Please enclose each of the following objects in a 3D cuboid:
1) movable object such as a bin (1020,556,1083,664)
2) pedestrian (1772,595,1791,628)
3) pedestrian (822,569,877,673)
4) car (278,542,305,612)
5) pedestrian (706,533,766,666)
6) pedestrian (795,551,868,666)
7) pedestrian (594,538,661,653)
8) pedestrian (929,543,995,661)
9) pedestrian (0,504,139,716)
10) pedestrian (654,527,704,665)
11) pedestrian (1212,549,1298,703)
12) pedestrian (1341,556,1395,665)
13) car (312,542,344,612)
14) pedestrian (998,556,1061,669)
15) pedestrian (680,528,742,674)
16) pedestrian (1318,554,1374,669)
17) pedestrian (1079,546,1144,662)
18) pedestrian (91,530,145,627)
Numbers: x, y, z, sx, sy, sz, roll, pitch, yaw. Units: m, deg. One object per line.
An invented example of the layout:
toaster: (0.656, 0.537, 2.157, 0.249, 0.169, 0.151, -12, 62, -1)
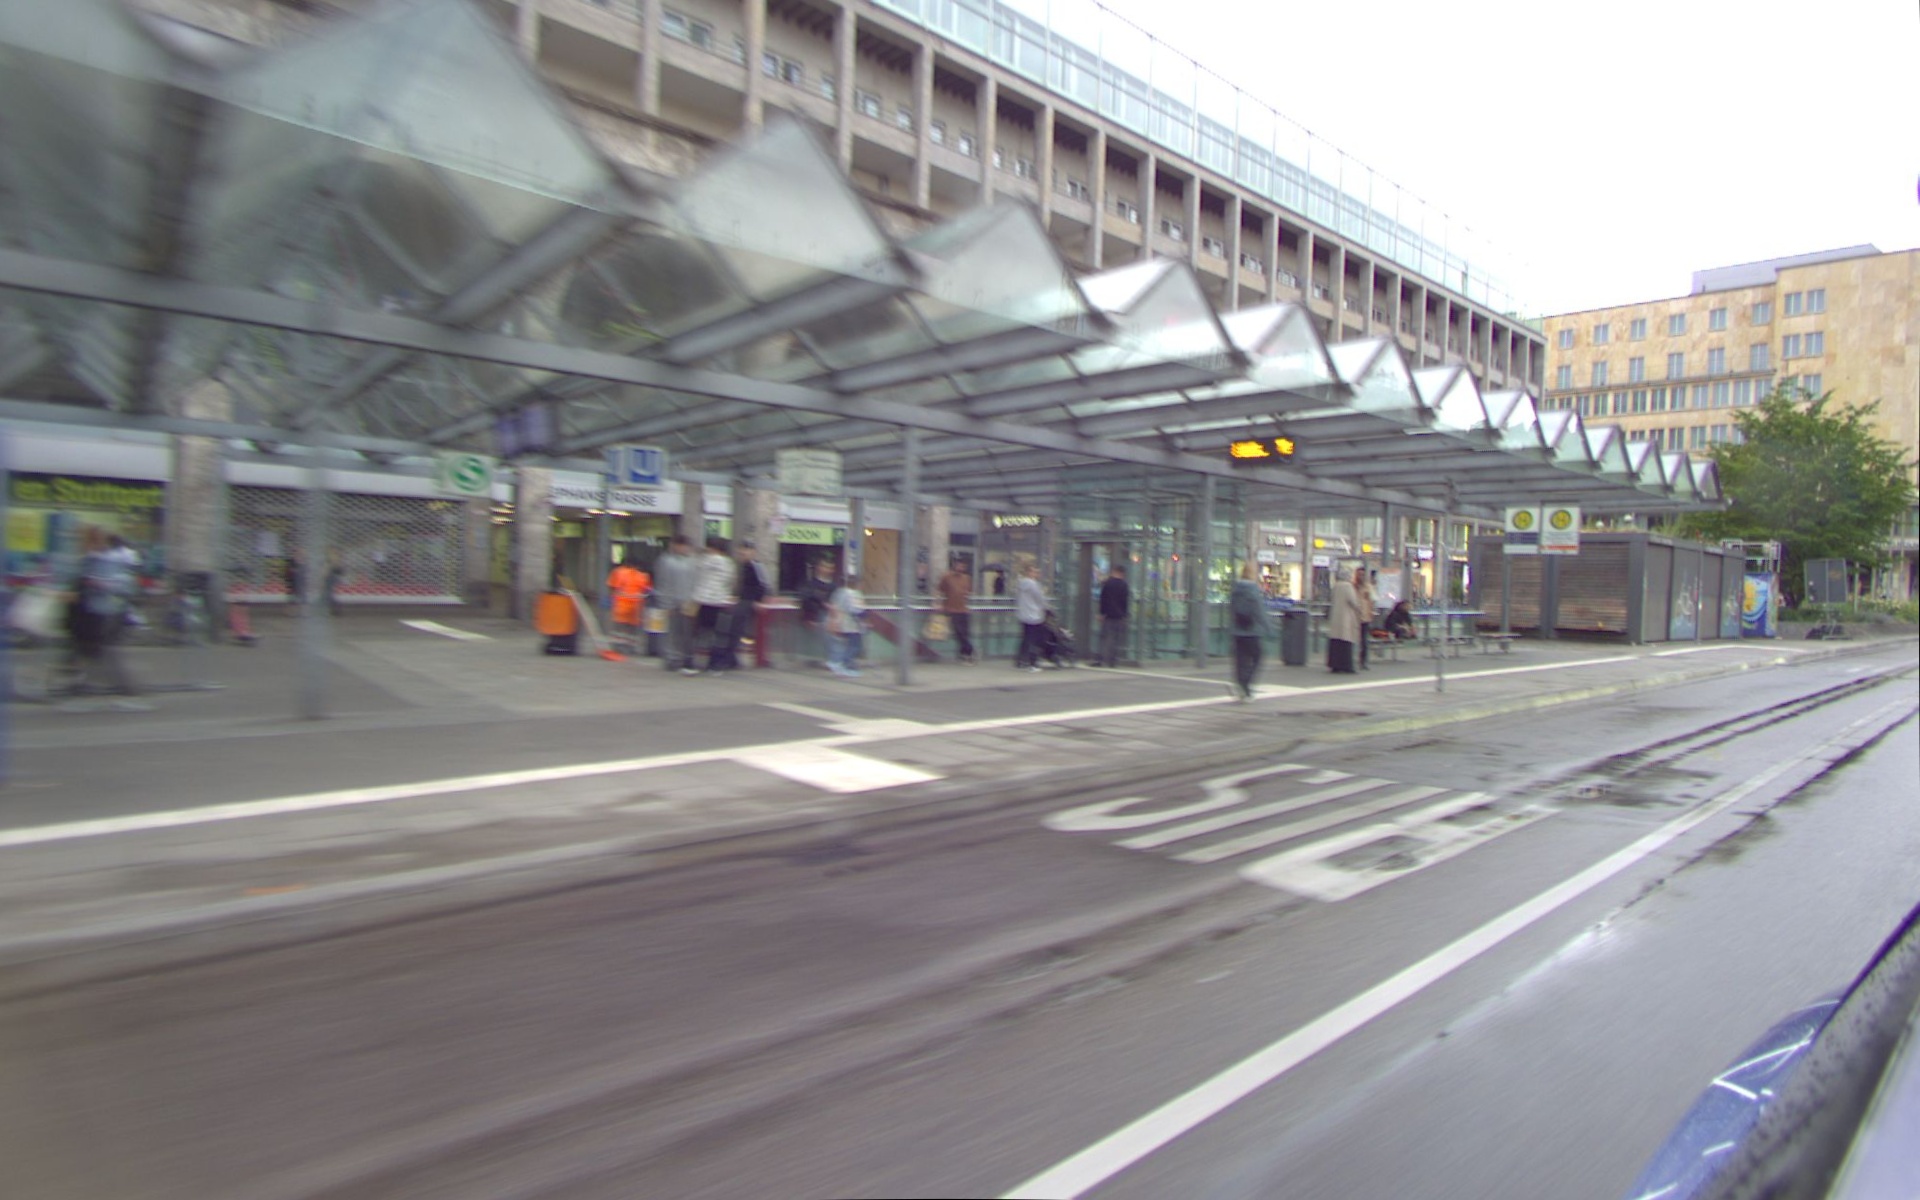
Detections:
movable object such as a bin: (1.479, 0.146, 16.248, 0.658, 1.673, 1.039, 1, 1, 26)
pedestrian: (45.421, 0.624, 55.943, 0.823, 1.773, 0.698, 0, 1, -43)
pedestrian: (-1.521, 0.277, 13.917, 0.552, 1.395, 0.500, 2, 1, 44)
car: (-15.000, -0.512, 22.716, 0.463, 1.558, 0.590, 0, 1, -38)
pedestrian: (-3.209, -0.015, 14.499, 0.599, 1.854, 0.589, 1, 1, 20)
pedestrian: (-1.901, 0.112, 14.932, 0.750, 1.628, 0.750, 2, 1, 44)
pedestrian: (-5.498, -0.082, 16.761, 0.752, 1.854, 0.748, 1, 1, 20)
pedestrian: (0.038, 0.018, 16.616, 0.749, 1.871, 0.751, 0, 1, -44)
pedestrian: (-7.698, 0.073, 8.767, 0.885, 1.716, 0.750, 0, 1, -38)
pedestrian: (-3.953, -0.063, 14.271, 0.579, 1.897, 0.599, 1, 1, -8)
pedestrian: (3.470, 0.276, 11.867, 0.755, 1.711, 0.989, 1, 1, 28)
pedestrian: (7.161, 0.170, 17.759, 0.630, 1.859, 0.629, 0, 1, -39)
car: (-14.392, -0.517, 23.027, 0.557, 1.558, 0.590, 0, 1, -39)
pedestrian: (1.066, 0.179, 15.485, 0.754, 1.675, 0.674, 1, 1, 25)
pedestrian: (-3.327, 0.006, 13.511, 0.613, 1.883, 0.609, 1, 1, -32)
pedestrian: (6.420, 0.178, 16.823, 0.675, 1.859, 0.565, 2, 1, 43)
pedestrian: (2.521, 0.058, 16.845, 0.746, 1.859, 0.754, 1, 1, -25)
pedestrian: (-15.384, -0.389, 18.487, 0.739, 1.731, 0.761, 0, 1, -41)
